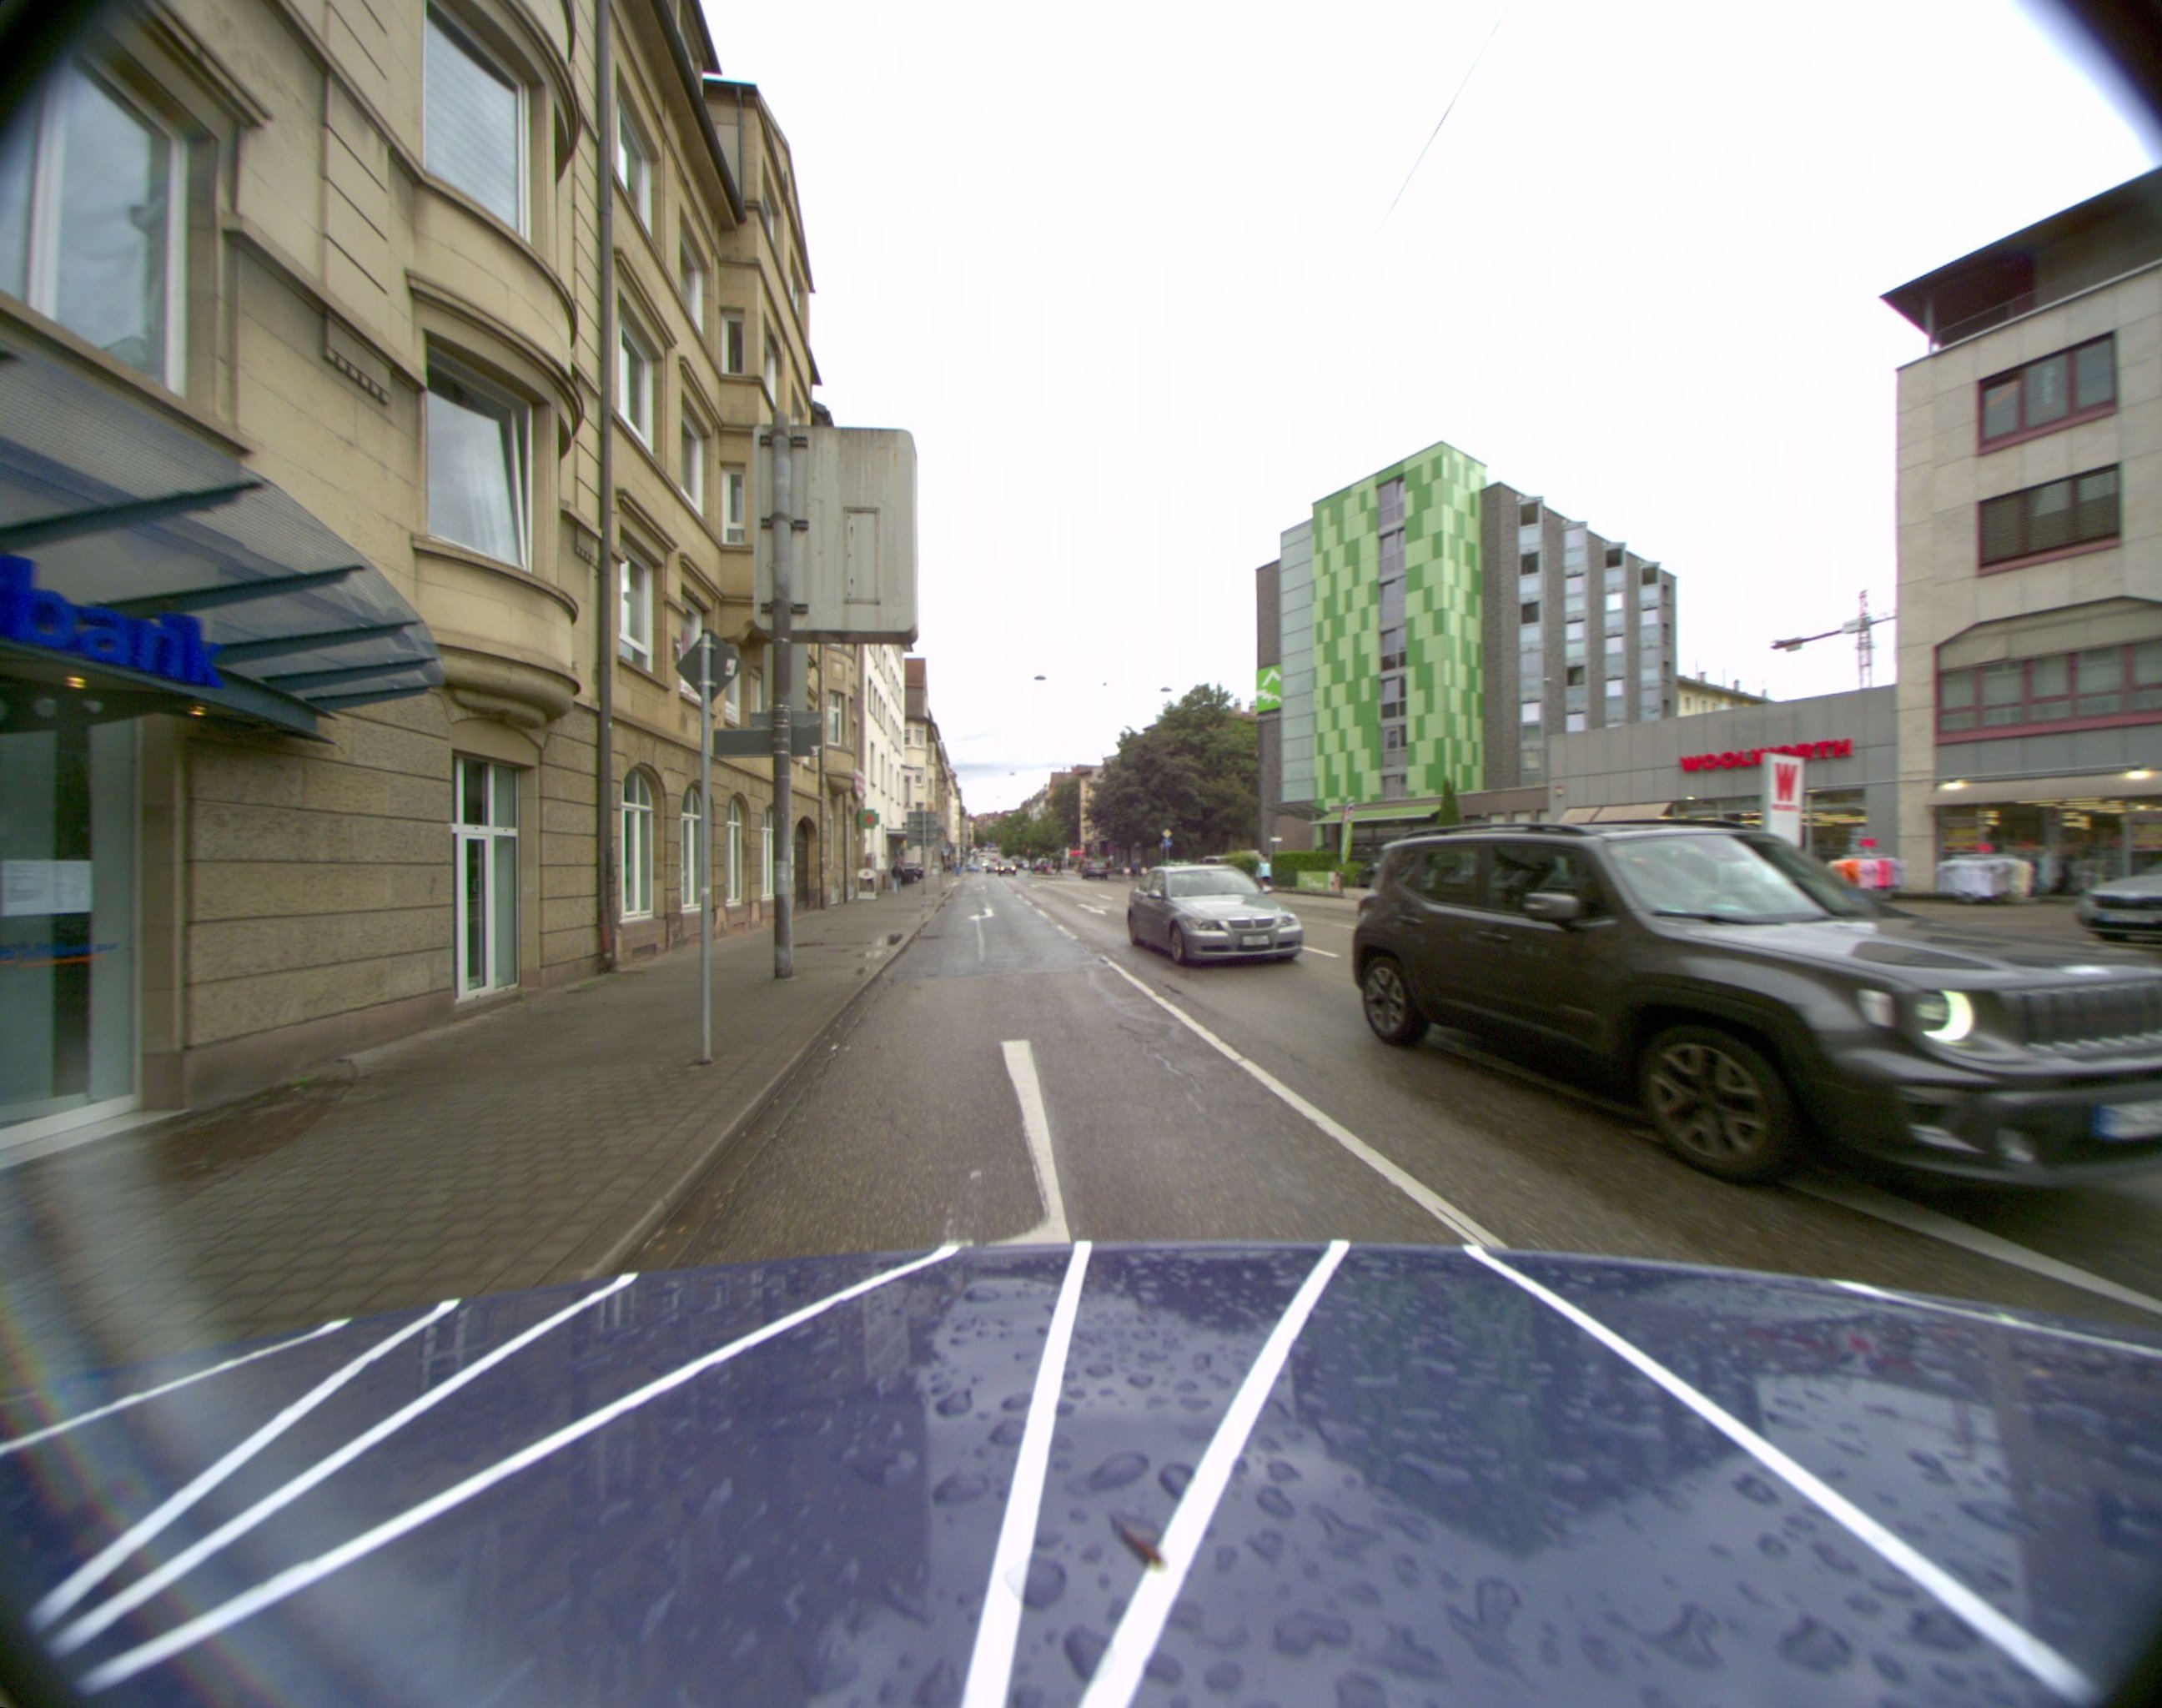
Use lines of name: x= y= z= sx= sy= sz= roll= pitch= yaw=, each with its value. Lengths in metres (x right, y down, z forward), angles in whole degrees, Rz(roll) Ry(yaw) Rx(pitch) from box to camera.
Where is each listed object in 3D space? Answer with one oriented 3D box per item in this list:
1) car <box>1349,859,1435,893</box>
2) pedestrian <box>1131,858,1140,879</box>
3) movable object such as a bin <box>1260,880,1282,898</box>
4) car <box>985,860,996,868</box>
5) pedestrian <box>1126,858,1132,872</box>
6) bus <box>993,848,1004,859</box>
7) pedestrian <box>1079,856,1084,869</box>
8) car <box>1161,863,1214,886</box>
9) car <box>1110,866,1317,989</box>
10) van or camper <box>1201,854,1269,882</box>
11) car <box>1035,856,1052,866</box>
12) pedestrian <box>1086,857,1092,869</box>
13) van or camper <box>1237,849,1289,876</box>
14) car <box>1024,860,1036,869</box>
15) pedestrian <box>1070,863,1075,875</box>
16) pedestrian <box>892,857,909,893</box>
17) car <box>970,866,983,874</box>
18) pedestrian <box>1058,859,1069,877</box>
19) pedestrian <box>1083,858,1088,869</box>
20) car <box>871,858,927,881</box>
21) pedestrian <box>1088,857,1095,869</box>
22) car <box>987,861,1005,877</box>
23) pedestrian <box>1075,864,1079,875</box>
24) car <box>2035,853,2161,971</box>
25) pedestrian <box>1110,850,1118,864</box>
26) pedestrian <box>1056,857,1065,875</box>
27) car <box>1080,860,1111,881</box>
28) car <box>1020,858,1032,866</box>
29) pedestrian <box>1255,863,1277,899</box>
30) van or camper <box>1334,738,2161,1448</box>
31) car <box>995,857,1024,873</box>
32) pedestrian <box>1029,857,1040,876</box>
car: x=13.900 y=0.960 z=34.301 sx=1.998 sy=1.430 sz=4.652 roll=0 pitch=0 yaw=0
pedestrian: x=4.616 y=1.197 z=64.455 sx=0.576 sy=1.752 sz=0.580 roll=0 pitch=0 yaw=-14
movable object such as a bin: x=8.791 y=1.606 z=35.221 sx=0.752 sy=0.784 sz=0.735 roll=0 pitch=1 yaw=38
car: x=-18.458 y=2.101 z=154.267 sx=1.961 sy=1.547 sz=4.240 roll=1 pitch=-1 yaw=-9
pedestrian: x=4.089 y=0.920 z=64.266 sx=0.410 sy=1.191 sz=0.310 roll=0 pitch=0 yaw=-14
bus: x=-27.106 y=-0.134 z=248.041 sx=2.815 sy=3.227 sz=11.951 roll=4 pitch=0 yaw=-9
pedestrian: x=0.066 y=1.085 z=97.440 sx=0.499 sy=1.663 sz=0.552 roll=-1 pitch=0 yaw=-11
car: x=7.971 y=1.537 z=56.848 sx=3.594 sy=1.560 sz=1.737 roll=-2 pitch=-1 yaw=-28
car: x=1.831 y=0.980 z=12.038 sx=1.805 sy=1.455 sz=4.367 roll=-2 pitch=0 yaw=-10
van or camper: x=12.139 y=1.111 z=59.797 sx=4.974 sy=2.001 sz=1.996 roll=-1 pitch=-1 yaw=-26
car: x=-5.512 y=0.998 z=111.289 sx=2.020 sy=1.417 sz=4.497 roll=0 pitch=0 yaw=-8
pedestrian: x=1.157 y=1.300 z=109.429 sx=0.716 sy=1.668 sz=0.713 roll=-1 pitch=0 yaw=-8
van or camper: x=17.005 y=0.794 z=71.010 sx=4.626 sy=2.253 sz=2.206 roll=-3 pitch=0 yaw=-37
car: x=-8.780 y=1.797 z=130.708 sx=1.826 sy=1.559 sz=4.086 roll=1 pitch=-1 yaw=-9
pedestrian: x=-1.352 y=2.346 z=117.753 sx=0.591 sy=1.808 sz=0.869 roll=-1 pitch=0 yaw=-16
pedestrian: x=-8.549 y=0.996 z=36.099 sx=0.674 sy=1.710 sz=0.901 roll=0 pitch=0 yaw=-7
car: x=-16.938 y=2.553 z=122.591 sx=1.741 sy=1.302 sz=3.763 roll=0 pitch=-1 yaw=-13
pedestrian: x=-1.749 y=1.385 z=75.051 sx=0.863 sy=1.834 sz=0.693 roll=0 pitch=0 yaw=-22
pedestrian: x=0.592 y=1.242 z=97.472 sx=0.461 sy=1.465 sz=0.530 roll=-1 pitch=0 yaw=-11
car: x=-14.469 y=1.233 z=60.477 sx=4.155 sy=1.761 sz=1.870 roll=0 pitch=0 yaw=-19
pedestrian: x=1.517 y=1.322 z=108.318 sx=0.712 sy=1.668 sz=0.801 roll=-1 pitch=0 yaw=20
car: x=-11.242 y=2.003 z=100.110 sx=2.001 sy=2.001 sz=3.996 roll=-1 pitch=-1 yaw=-12
pedestrian: x=-0.480 y=2.037 z=97.242 sx=0.434 sy=1.402 sz=0.481 roll=-1 pitch=0 yaw=-11
car: x=16.492 y=0.742 z=10.503 sx=4.458 sy=1.517 sz=1.885 roll=-1 pitch=0 yaw=-3
pedestrian: x=4.326 y=0.391 z=99.825 sx=0.724 sy=1.815 sz=0.720 roll=-1 pitch=-1 yaw=-35
pedestrian: x=-2.048 y=1.182 z=75.768 sx=0.658 sy=1.748 sz=0.719 roll=0 pitch=0 yaw=-27
car: x=1.205 y=1.360 z=63.935 sx=1.954 sy=1.649 sz=4.054 roll=-1 pitch=0 yaw=-9
car: x=-10.716 y=1.586 z=148.822 sx=1.961 sy=1.547 sz=4.240 roll=1 pitch=-1 yaw=-9
pedestrian: x=8.749 y=1.258 z=35.874 sx=0.752 sy=1.675 sz=0.749 roll=0 pitch=0 yaw=38
van or camper: x=3.418 y=0.725 z=4.488 sx=1.861 sy=2.133 sz=4.139 roll=-1 pitch=0 yaw=-11
car: x=-7.654 y=1.201 z=81.097 sx=1.859 sy=1.646 sz=4.197 roll=0 pitch=-1 yaw=-23
pedestrian: x=-4.482 y=1.195 z=73.219 sx=0.724 sy=1.815 sz=0.853 roll=-1 pitch=-1 yaw=-30
